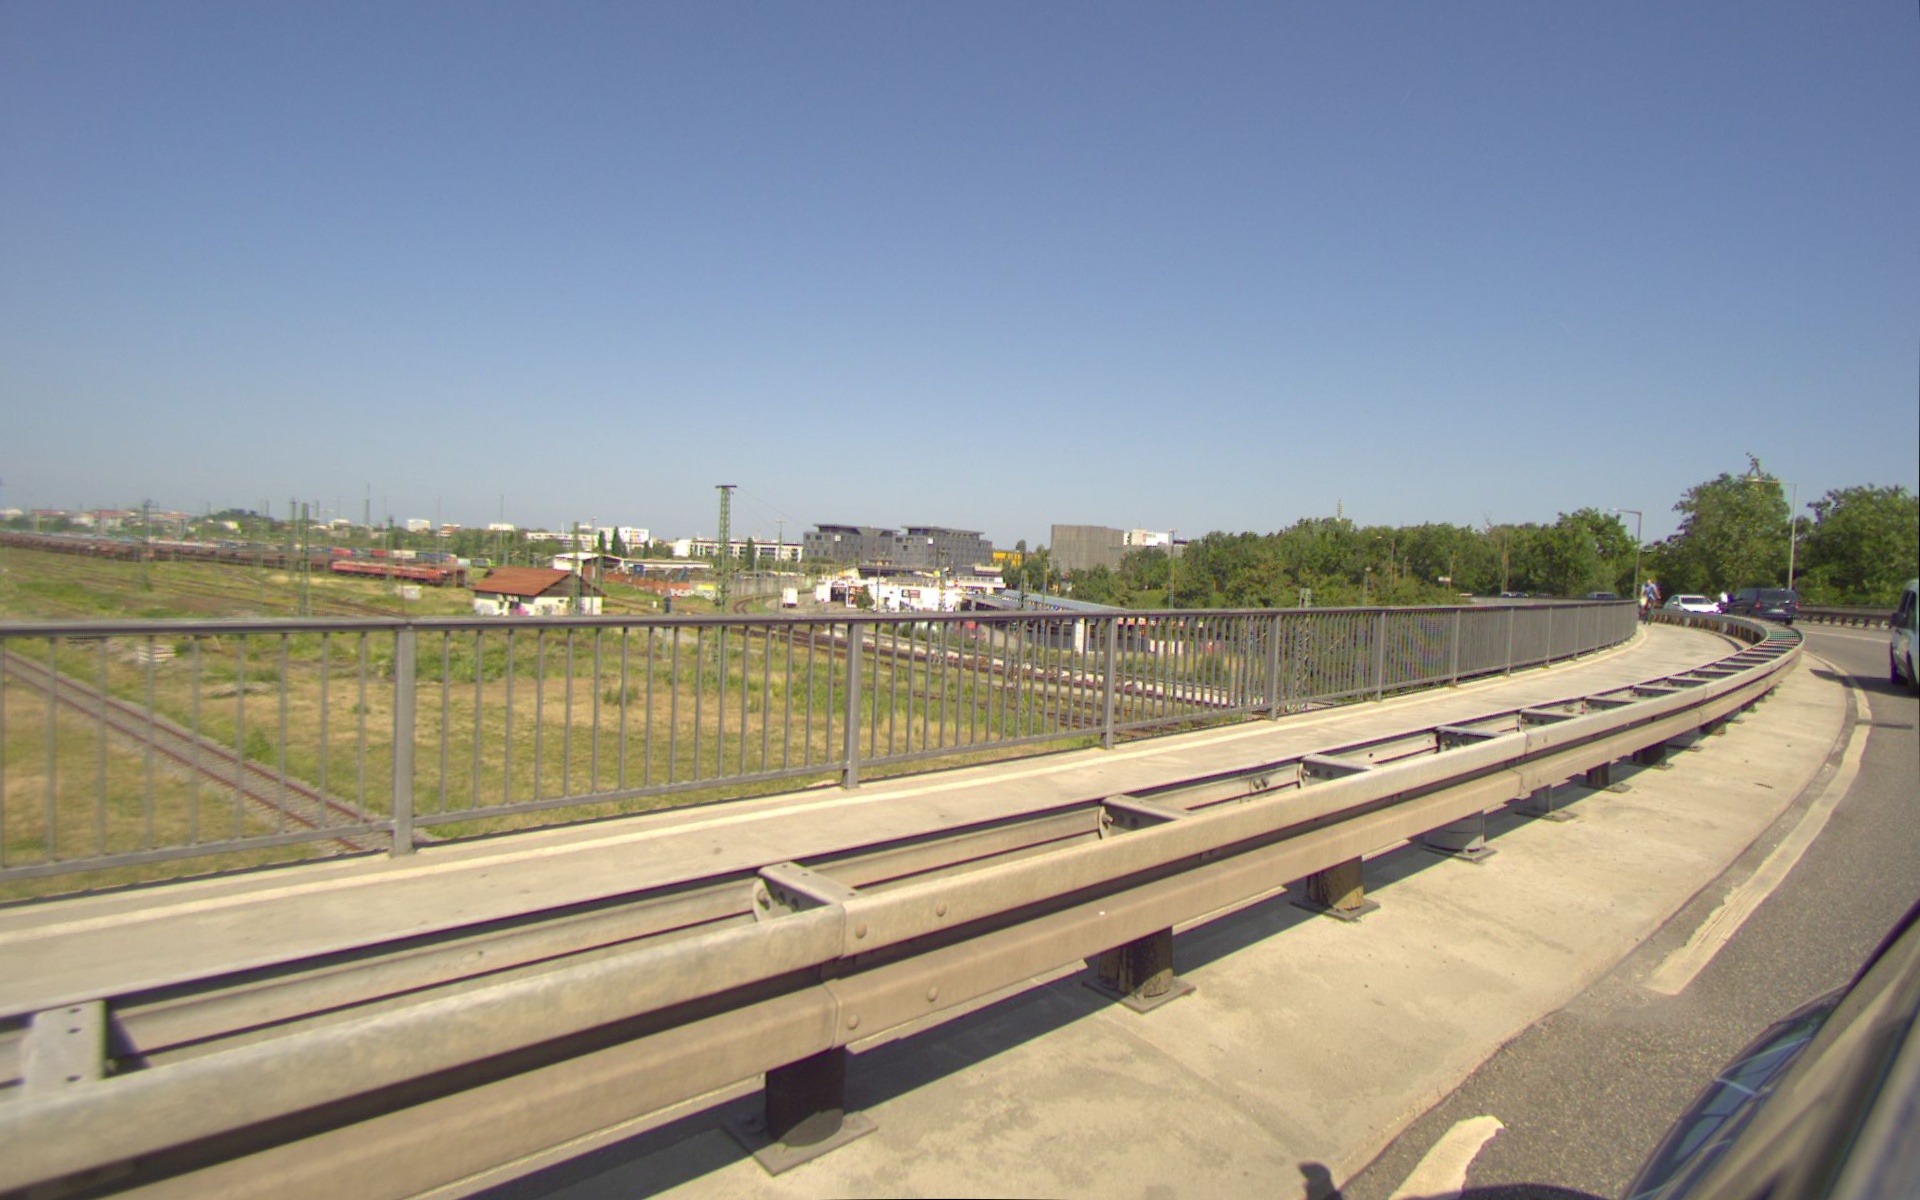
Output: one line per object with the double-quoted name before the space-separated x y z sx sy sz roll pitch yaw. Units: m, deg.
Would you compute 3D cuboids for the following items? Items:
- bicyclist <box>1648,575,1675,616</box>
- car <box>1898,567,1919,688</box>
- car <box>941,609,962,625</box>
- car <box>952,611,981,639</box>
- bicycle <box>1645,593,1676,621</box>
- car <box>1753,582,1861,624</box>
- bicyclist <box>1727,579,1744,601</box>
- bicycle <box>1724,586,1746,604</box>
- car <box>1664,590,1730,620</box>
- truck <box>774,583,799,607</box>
"bicyclist" 27.860 -0.187 40.222 0.654 1.538 0.796 4 2 25
"car" 15.965 0.420 15.609 1.889 1.818 4.385 1 1 39
"car" -1.119 2.286 134.403 1.959 1.894 4.007 -4 1 -11
"car" 0.783 2.959 120.100 2.261 2.694 5.391 -4 4 -11
"bicycle" 27.818 0.265 40.208 0.698 1.032 1.829 5 2 26
"car" 41.141 0.105 49.355 2.056 1.912 5.876 -1 0 20
"bicyclist" 52.221 -0.677 68.195 0.604 1.456 1.069 3 3 25
"bicycle" 52.185 -0.370 68.163 0.608 1.149 2.131 4 2 25
"car" 38.205 0.234 52.532 1.826 1.507 4.120 1 1 23
"truck" -32.947 -1.035 191.871 3.742 4.079 13.301 3 1 -13
